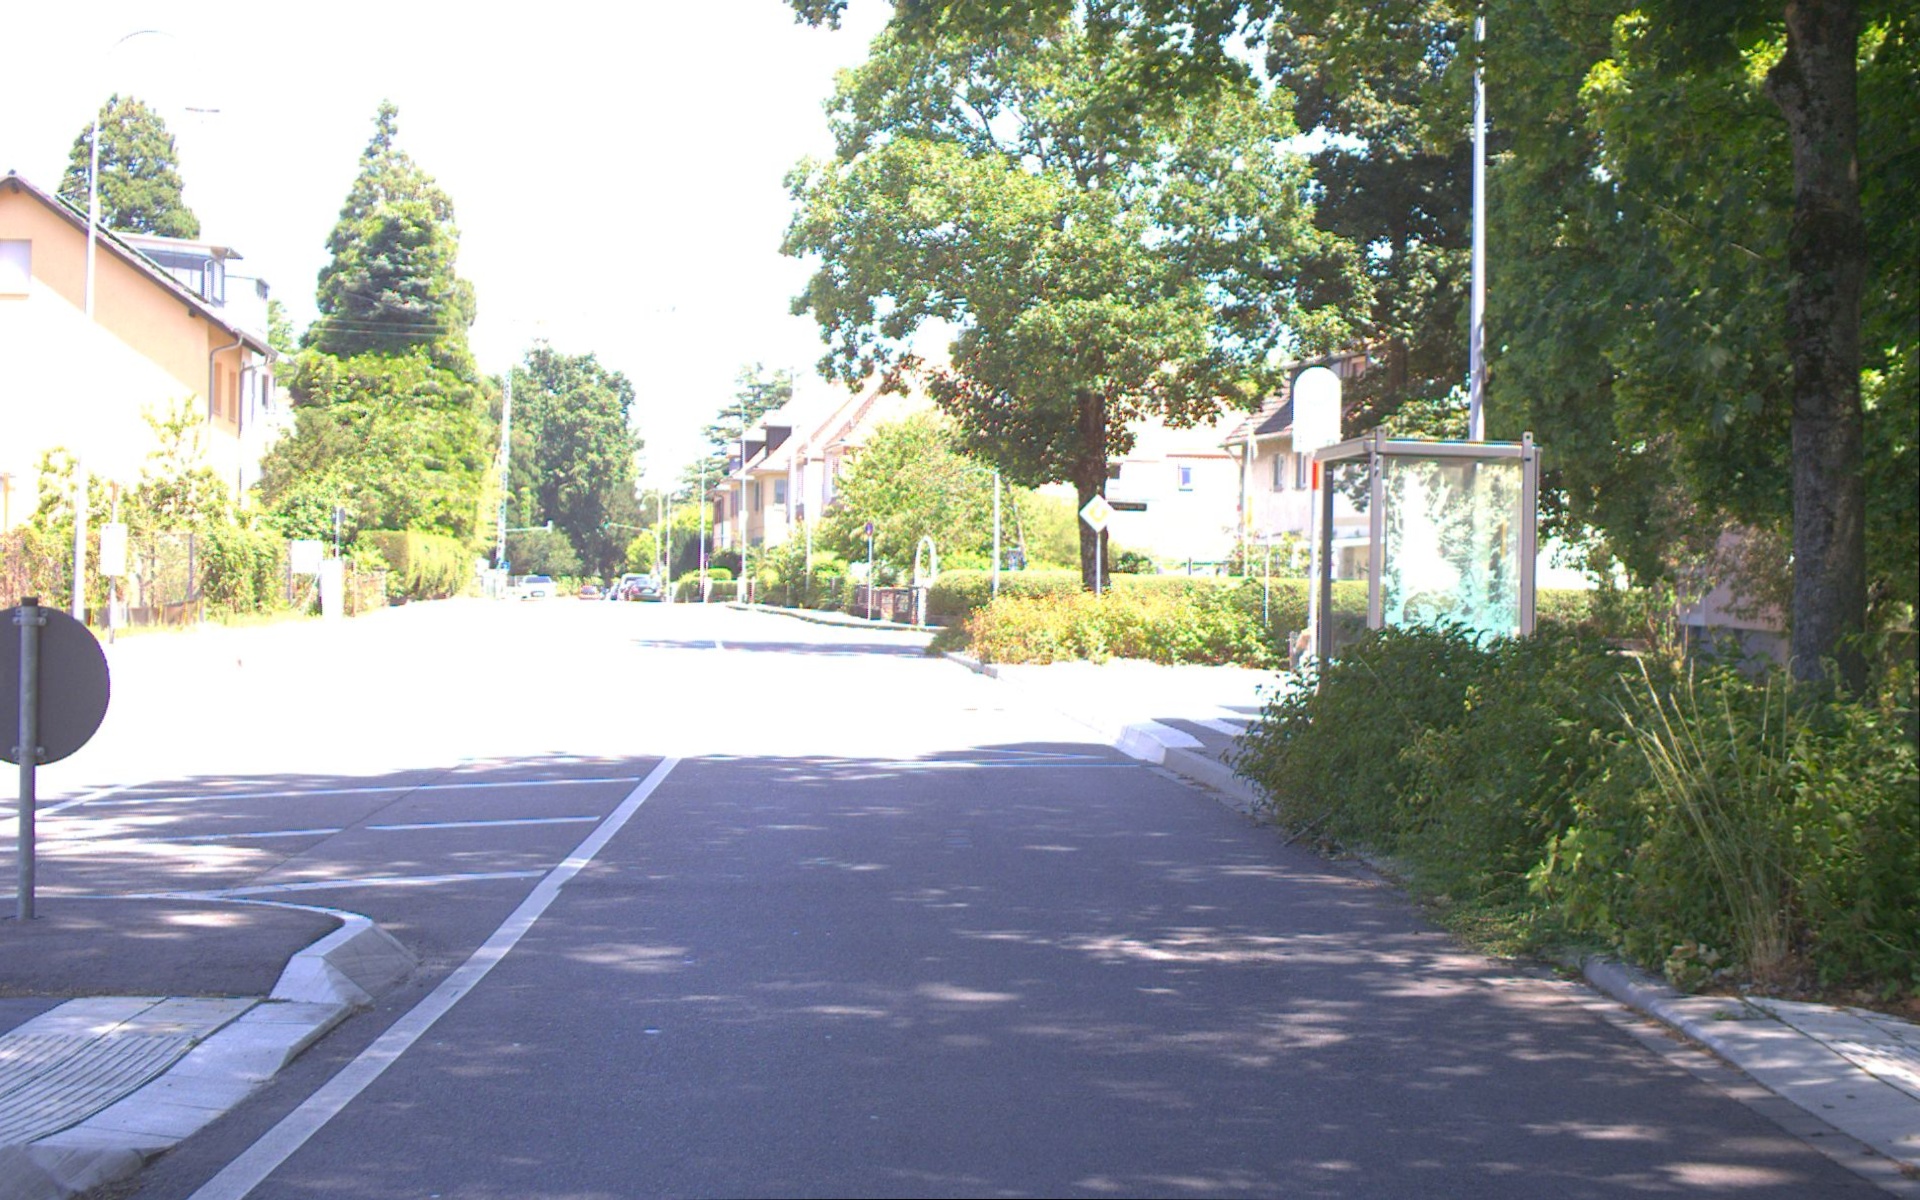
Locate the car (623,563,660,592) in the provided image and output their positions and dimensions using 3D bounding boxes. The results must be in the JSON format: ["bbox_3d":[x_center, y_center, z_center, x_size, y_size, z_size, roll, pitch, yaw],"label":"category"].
[{"bbox_3d":[-16.851,-1.198,181.880,1.692,1.414,4.552,2,-1,-8],"label":"car"}]

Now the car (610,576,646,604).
[{"bbox_3d":[-18.471,-0.535,191.198,1.692,1.414,4.552,2,-1,-8],"label":"car"}]

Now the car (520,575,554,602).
[{"bbox_3d":[-22.089,-0.625,179.526,1.680,1.368,4.207,0,1,-6],"label":"car"}]
